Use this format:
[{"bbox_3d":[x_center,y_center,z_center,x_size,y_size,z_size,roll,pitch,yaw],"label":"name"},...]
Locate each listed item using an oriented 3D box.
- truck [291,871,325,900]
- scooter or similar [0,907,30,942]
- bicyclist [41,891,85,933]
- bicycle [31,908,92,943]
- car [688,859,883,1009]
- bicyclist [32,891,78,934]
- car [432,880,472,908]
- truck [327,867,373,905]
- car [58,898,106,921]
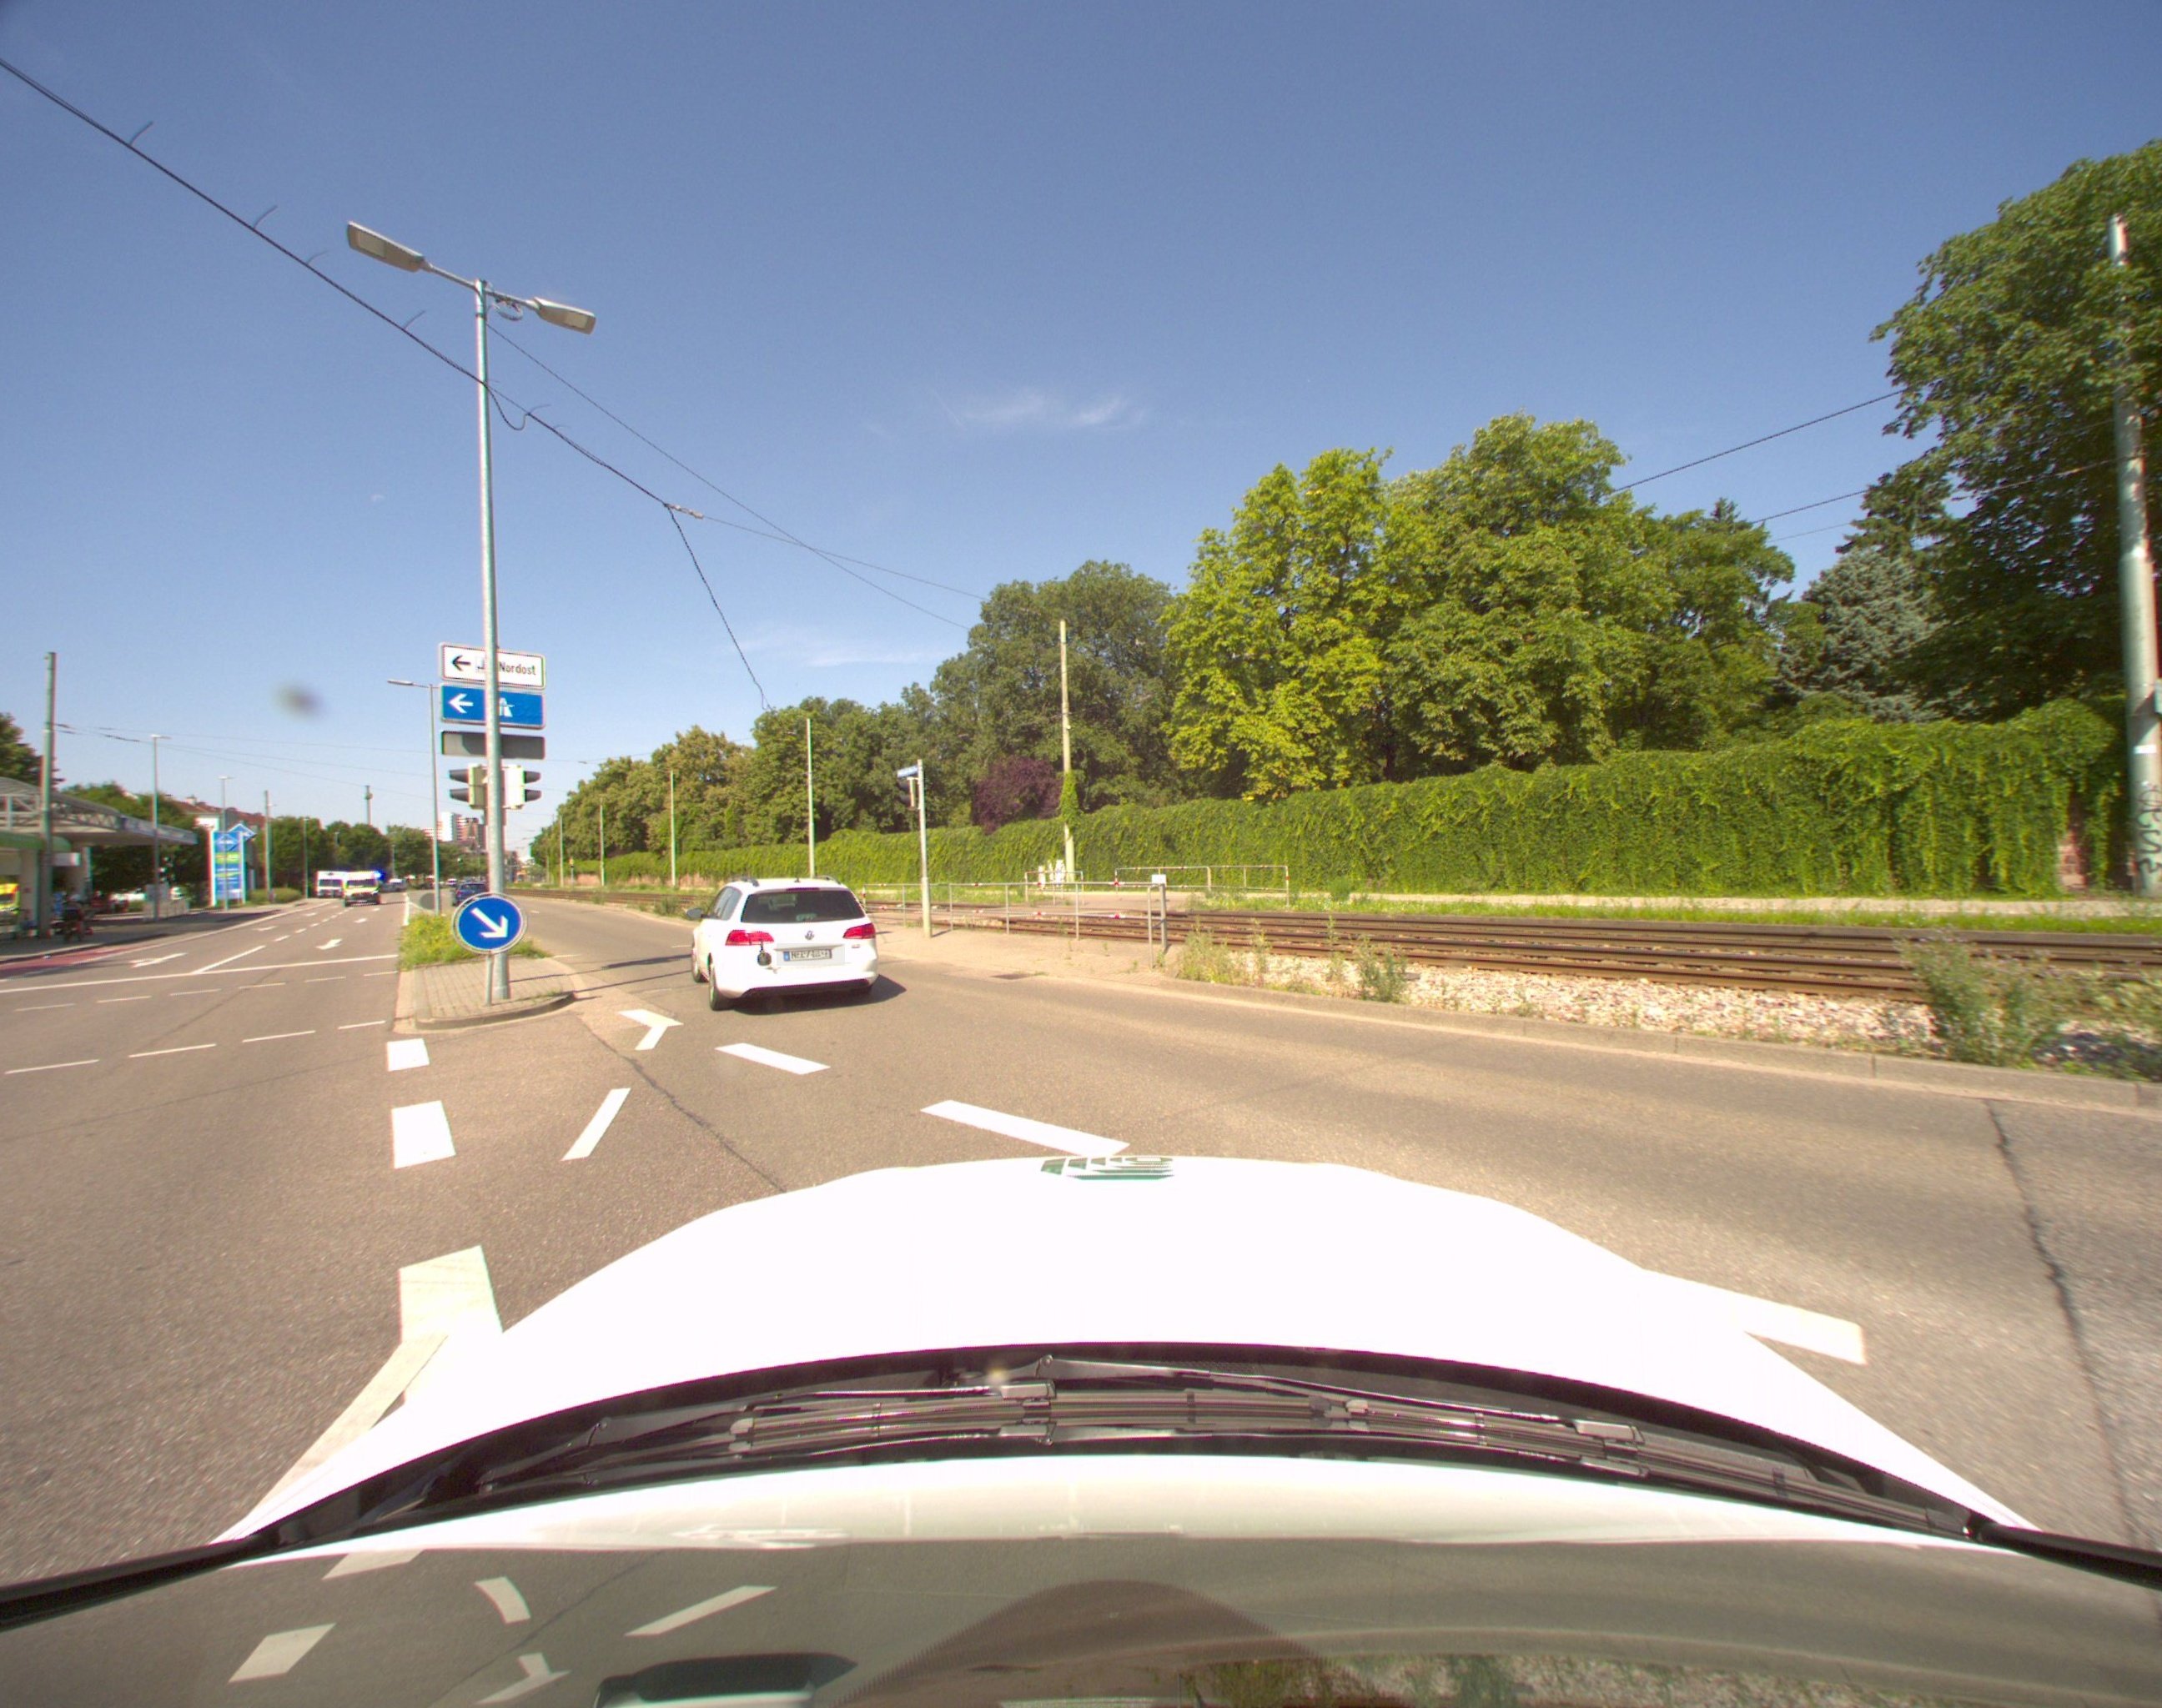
[{"bbox_3d":[-98.638,4.073,104.002,2.689,3.530,8.488,0,-2,-40],"label":"truck"},{"bbox_3d":[-40.215,2.641,30.586,0.444,1.237,1.332,-2,0,-31],"label":"scooter or similar"},{"bbox_3d":[-36.520,2.063,29.220,0.854,1.436,0.822,-1,-2,-42],"label":"bicyclist"},{"bbox_3d":[-36.504,2.534,29.205,0.832,1.094,2.739,0,-2,-40],"label":"bicycle"},{"bbox_3d":[-3.979,0.875,10.447,1.701,1.451,4.416,-1,-1,-29],"label":"car"},{"bbox_3d":[-35.998,2.035,28.592,0.854,1.436,0.822,-1,0,-41],"label":"bicyclist"},{"bbox_3d":[-38.082,2.367,49.282,1.815,1.507,3.953,-1,0,-39],"label":"car"},{"bbox_3d":[-57.146,2.460,63.784,2.350,2.668,7.272,-3,0,-40],"label":"truck"},{"bbox_3d":[-85.148,4.710,69.480,1.815,1.570,4.464,-2,1,-41],"label":"car"}]
